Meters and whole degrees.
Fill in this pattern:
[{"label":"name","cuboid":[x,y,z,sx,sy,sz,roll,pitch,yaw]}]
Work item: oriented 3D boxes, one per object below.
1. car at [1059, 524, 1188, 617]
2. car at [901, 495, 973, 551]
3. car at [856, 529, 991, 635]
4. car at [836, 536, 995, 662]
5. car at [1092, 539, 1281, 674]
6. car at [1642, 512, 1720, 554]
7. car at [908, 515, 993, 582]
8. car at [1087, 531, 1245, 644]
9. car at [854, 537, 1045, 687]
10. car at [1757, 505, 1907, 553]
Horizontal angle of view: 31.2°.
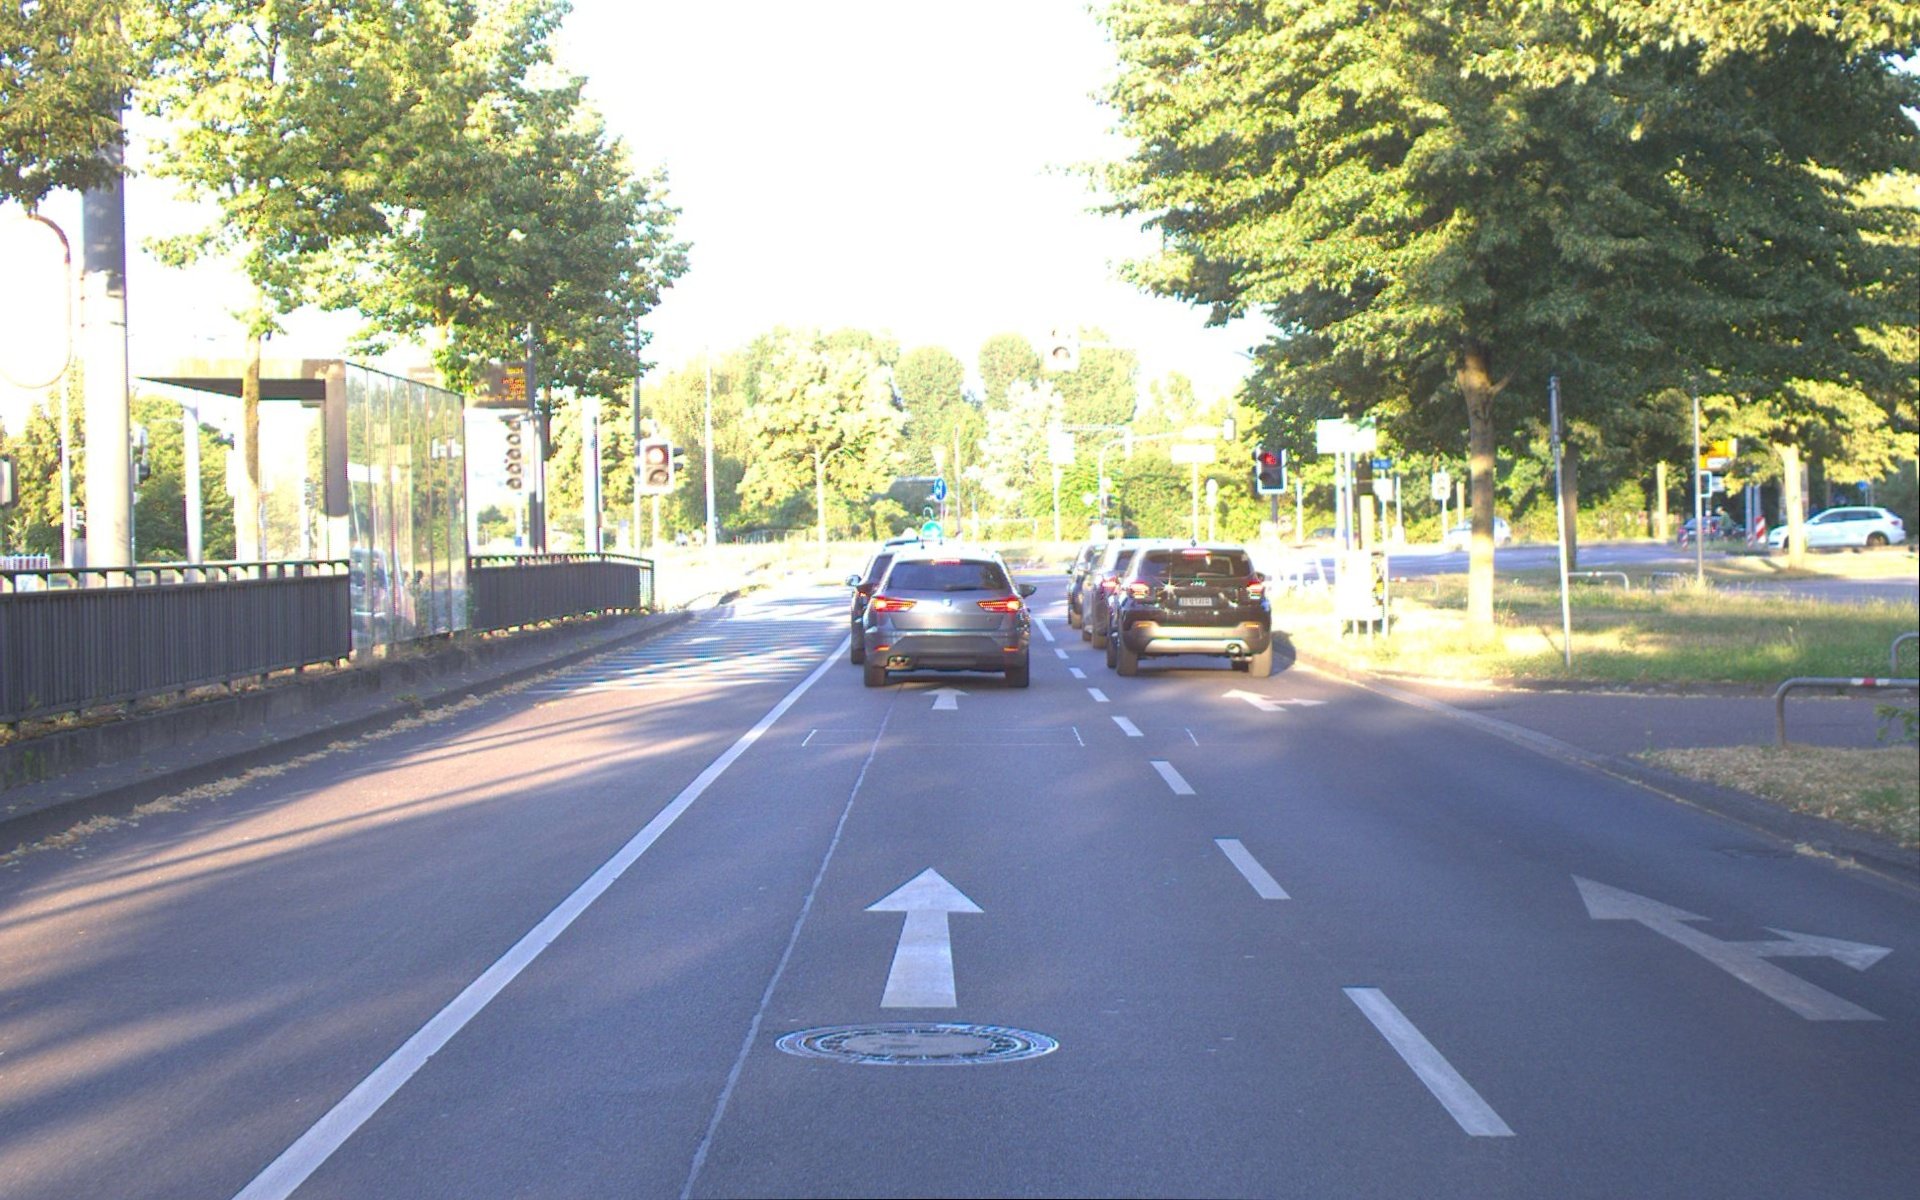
[{"label":"car","cuboid":[2.710,-0.525,57.707,1.911,1.481,4.000,-1,1,-1]},{"label":"car","cuboid":[-0.650,-2.119,94.576,1.911,1.481,4.000,-1,1,-1]},{"label":"car","cuboid":[-0.542,-0.301,51.001,1.911,1.481,4.000,-1,1,-1]},{"label":"car","cuboid":[-0.563,-0.050,43.586,1.911,1.481,4.000,-1,1,-1]},{"label":"car","cuboid":[2.629,0.036,40.703,1.911,1.481,4.000,0,1,-1]},{"label":"car","cuboid":[30.033,-2.792,143.089,1.997,1.722,3.993,0,1,30]},{"label":"car","cuboid":[-0.236,-1.218,80.188,1.911,1.481,4.000,-1,1,-1]},{"label":"car","cuboid":[2.853,-0.205,48.282,1.911,1.481,4.000,-1,1,-1]},{"label":"car","cuboid":[-0.134,0.084,36.722,1.911,1.481,4.000,-1,1,-1]},{"label":"car","cuboid":[28.018,-2.286,110.447,4.431,1.481,1.916,0,1,22]}]
